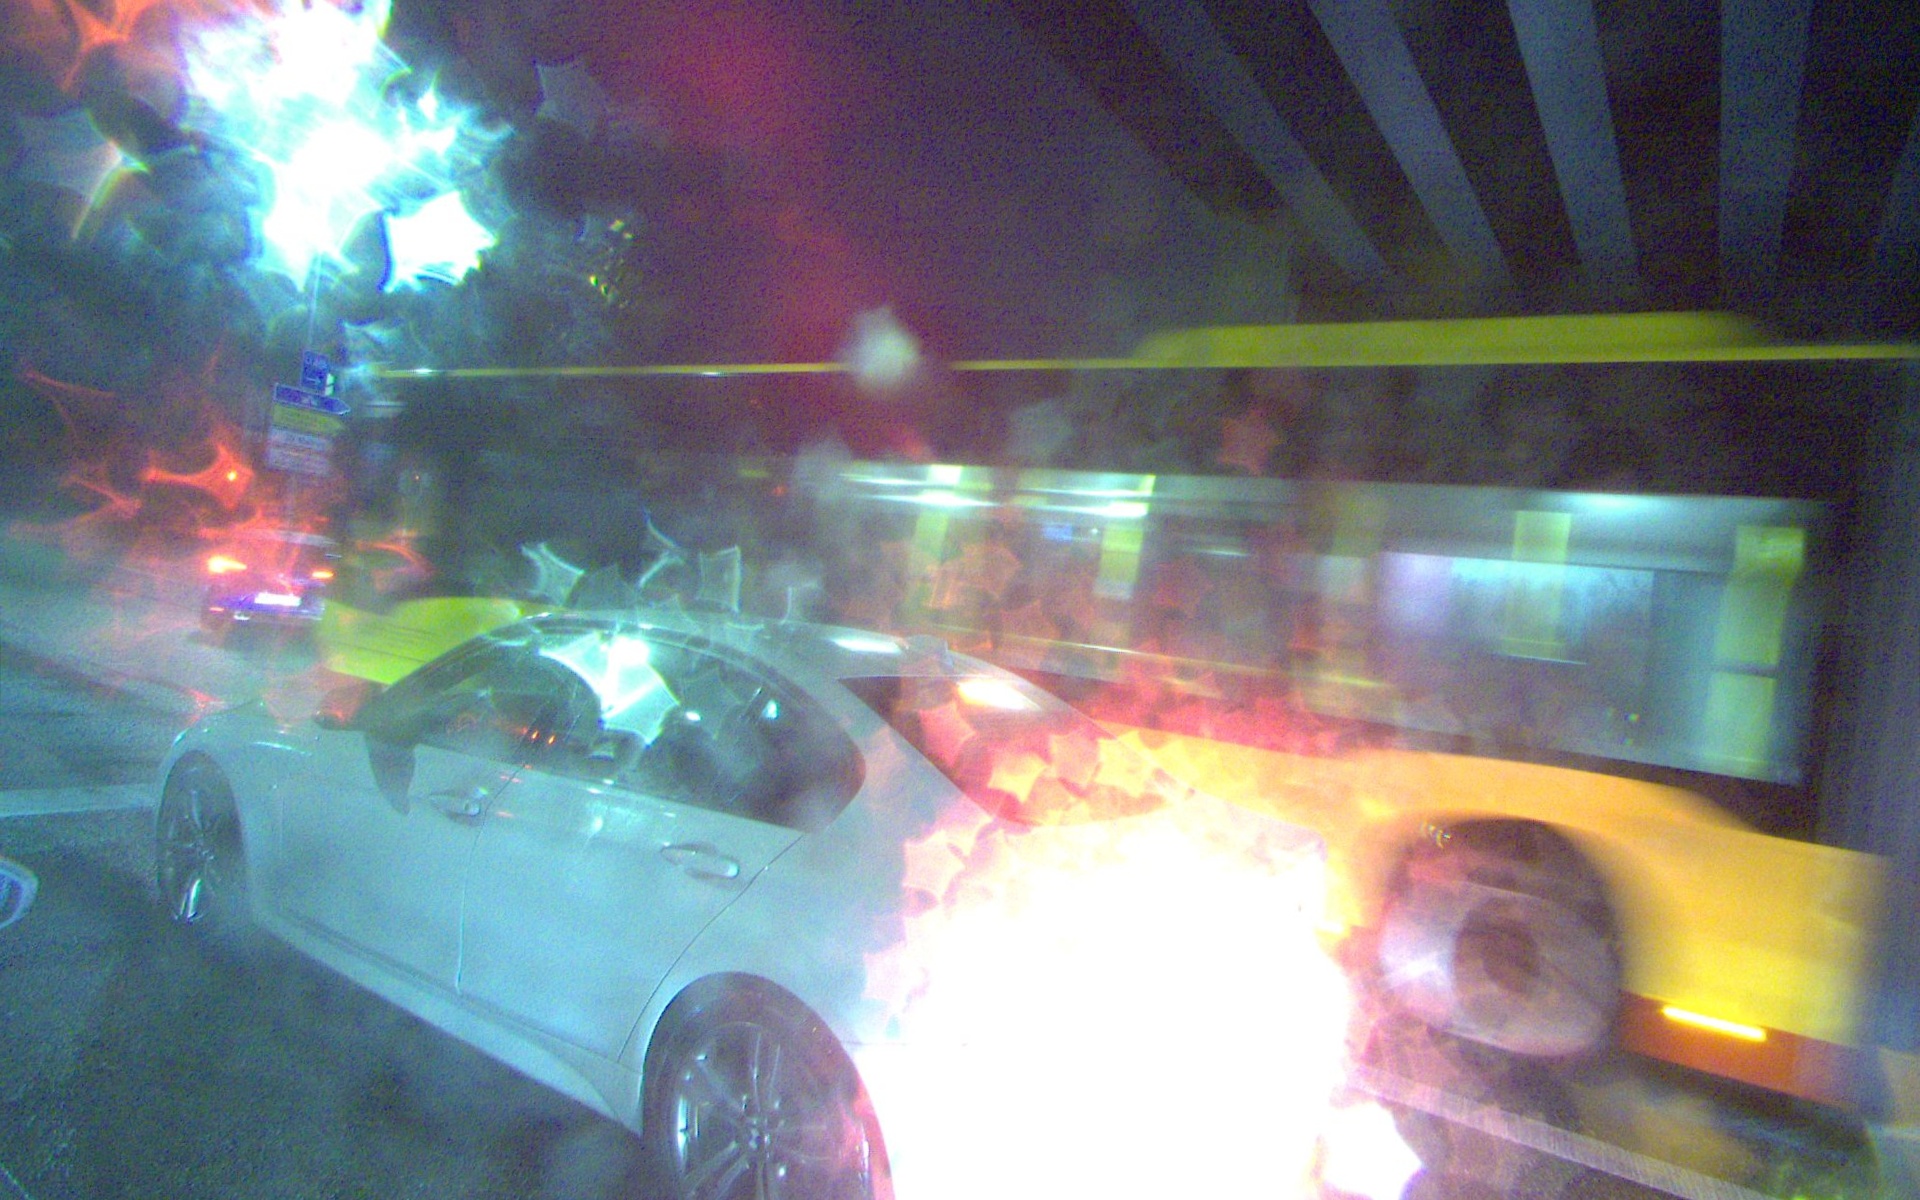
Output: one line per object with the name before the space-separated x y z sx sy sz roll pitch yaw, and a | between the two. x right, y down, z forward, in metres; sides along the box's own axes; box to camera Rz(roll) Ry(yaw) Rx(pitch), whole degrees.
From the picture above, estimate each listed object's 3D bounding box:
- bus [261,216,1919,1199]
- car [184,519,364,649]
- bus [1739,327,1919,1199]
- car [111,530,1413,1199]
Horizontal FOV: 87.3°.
bus | -0.457 -0.030 6.720 9.595 3.160 2.775 7 -1 30
car | -9.878 -0.309 14.760 1.738 1.448 3.729 9 0 -30
bus | 7.939 1.002 1.915 9.595 3.160 2.775 7 -1 30
car | -0.934 0.717 3.484 4.277 1.420 1.720 6 -2 32
